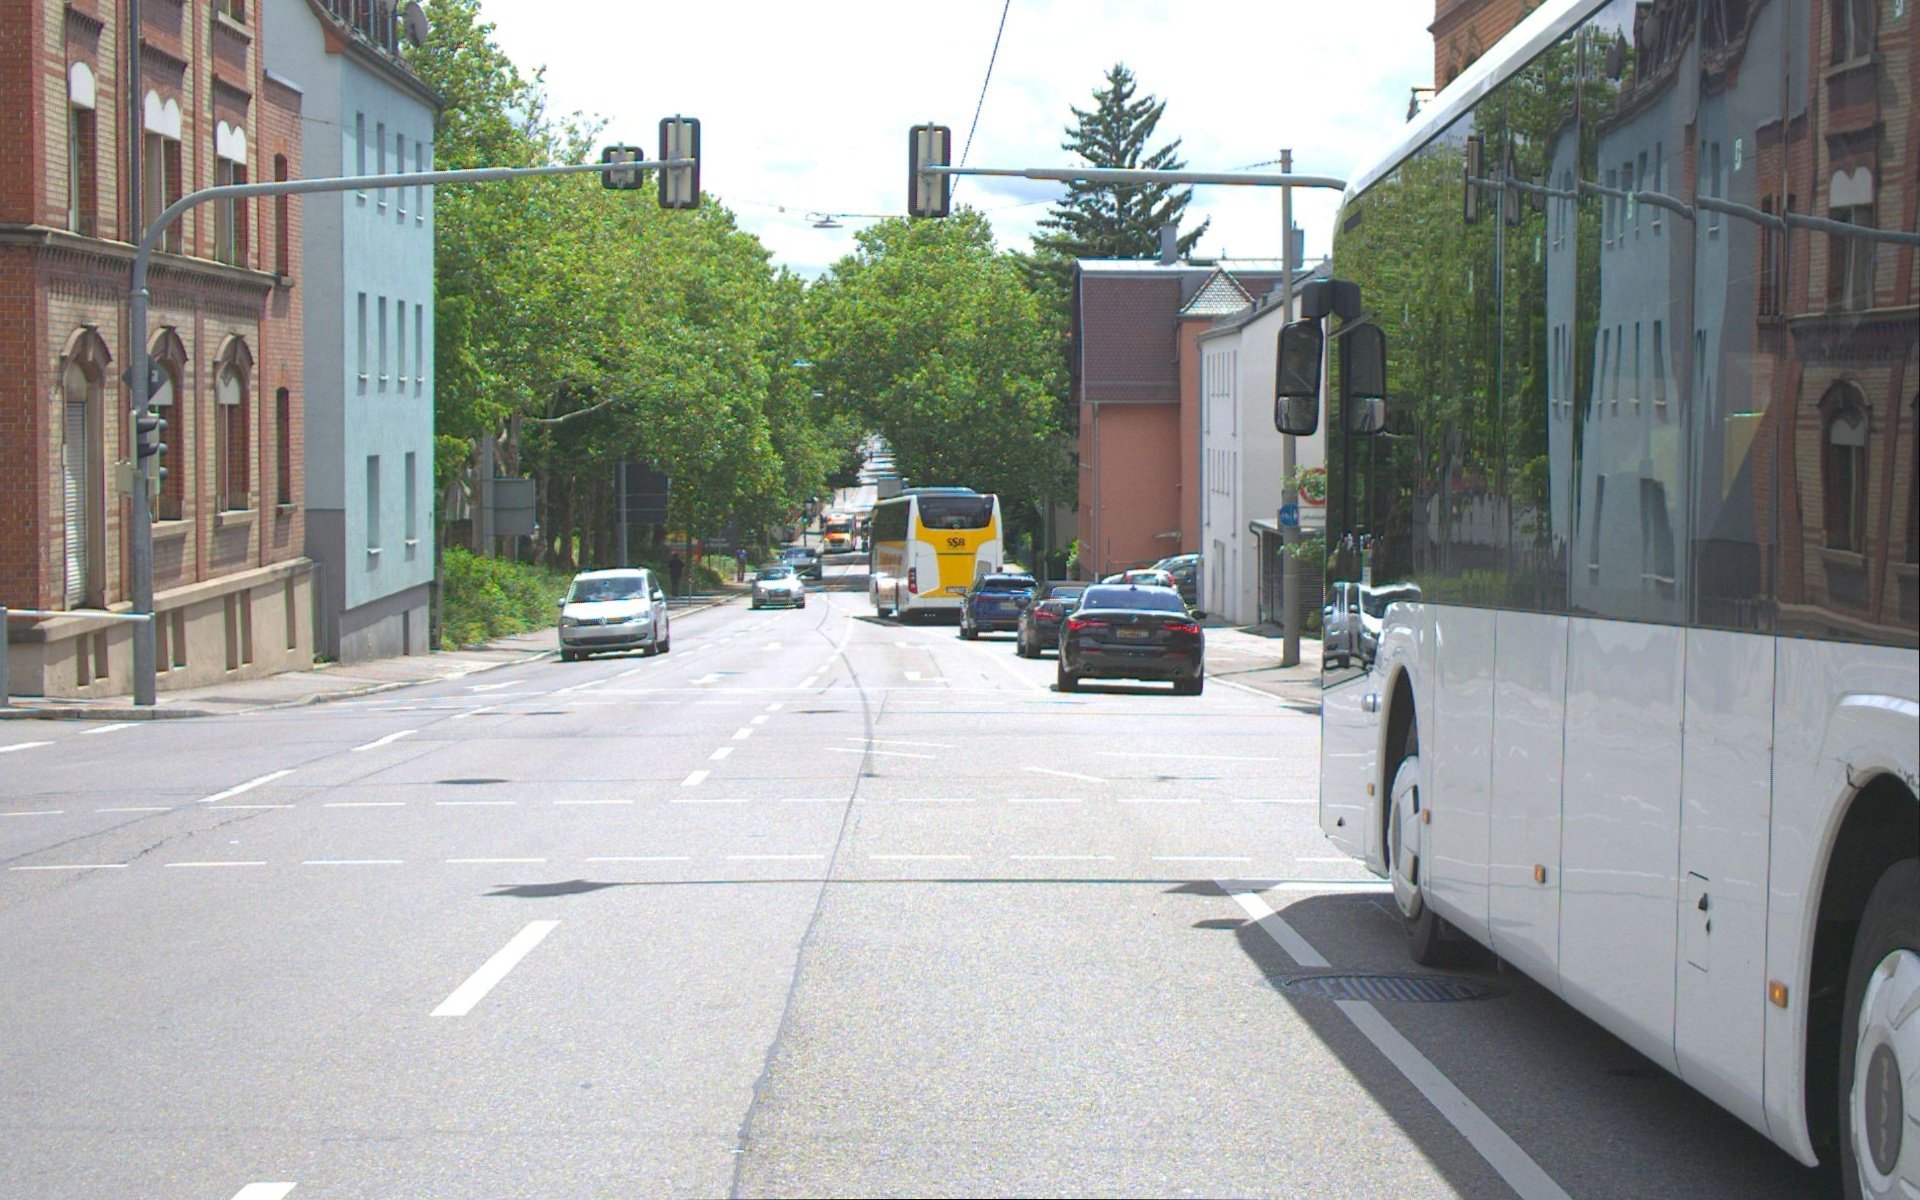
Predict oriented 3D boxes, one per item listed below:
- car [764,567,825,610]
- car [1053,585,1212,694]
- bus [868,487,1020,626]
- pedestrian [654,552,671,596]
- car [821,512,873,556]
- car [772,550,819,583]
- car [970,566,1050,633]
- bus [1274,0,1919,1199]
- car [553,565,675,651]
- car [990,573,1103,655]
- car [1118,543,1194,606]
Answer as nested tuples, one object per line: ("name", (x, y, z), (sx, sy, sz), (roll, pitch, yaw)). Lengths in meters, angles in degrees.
("car", (-5.489, -0.409, 114.524), (1.865, 1.363, 4.547), (-1, 1, -1))
("car", (2.182, 0.472, 44.398), (1.797, 1.271, 4.000), (-1, 1, -1))
("bus", (-0.575, -1.242, 95.976), (3.300, 3.618, 11.246), (-1, 1, -5))
("pedestrian", (-11.838, -1.038, 136.685), (0.606, 1.752, 0.654), (-1, 1, -2))
("car", (-8.116, -4.752, 247.488), (2.143, 3.059, 5.622), (1, 1, 15))
("car", (-8.307, -1.711, 173.898), (2.207, 1.607, 4.547), (-1, 1, -1))
("car", (1.057, -0.026, 73.965), (1.608, 1.371, 4.000), (0, 1, -1))
("bus", (2.966, -0.295, 9.259), (2.904, 3.498, 12.488), (1, 1, -1))
("car", (-6.611, 0.133, 66.115), (1.935, 1.558, 4.389), (-1, 1, -1))
("car", (1.530, 0.227, 62.187), (1.865, 1.363, 4.547), (-1, 1, -1))
("car", (5.292, -0.712, 93.314), (1.767, 1.660, 4.000), (-1, 1, -1))
